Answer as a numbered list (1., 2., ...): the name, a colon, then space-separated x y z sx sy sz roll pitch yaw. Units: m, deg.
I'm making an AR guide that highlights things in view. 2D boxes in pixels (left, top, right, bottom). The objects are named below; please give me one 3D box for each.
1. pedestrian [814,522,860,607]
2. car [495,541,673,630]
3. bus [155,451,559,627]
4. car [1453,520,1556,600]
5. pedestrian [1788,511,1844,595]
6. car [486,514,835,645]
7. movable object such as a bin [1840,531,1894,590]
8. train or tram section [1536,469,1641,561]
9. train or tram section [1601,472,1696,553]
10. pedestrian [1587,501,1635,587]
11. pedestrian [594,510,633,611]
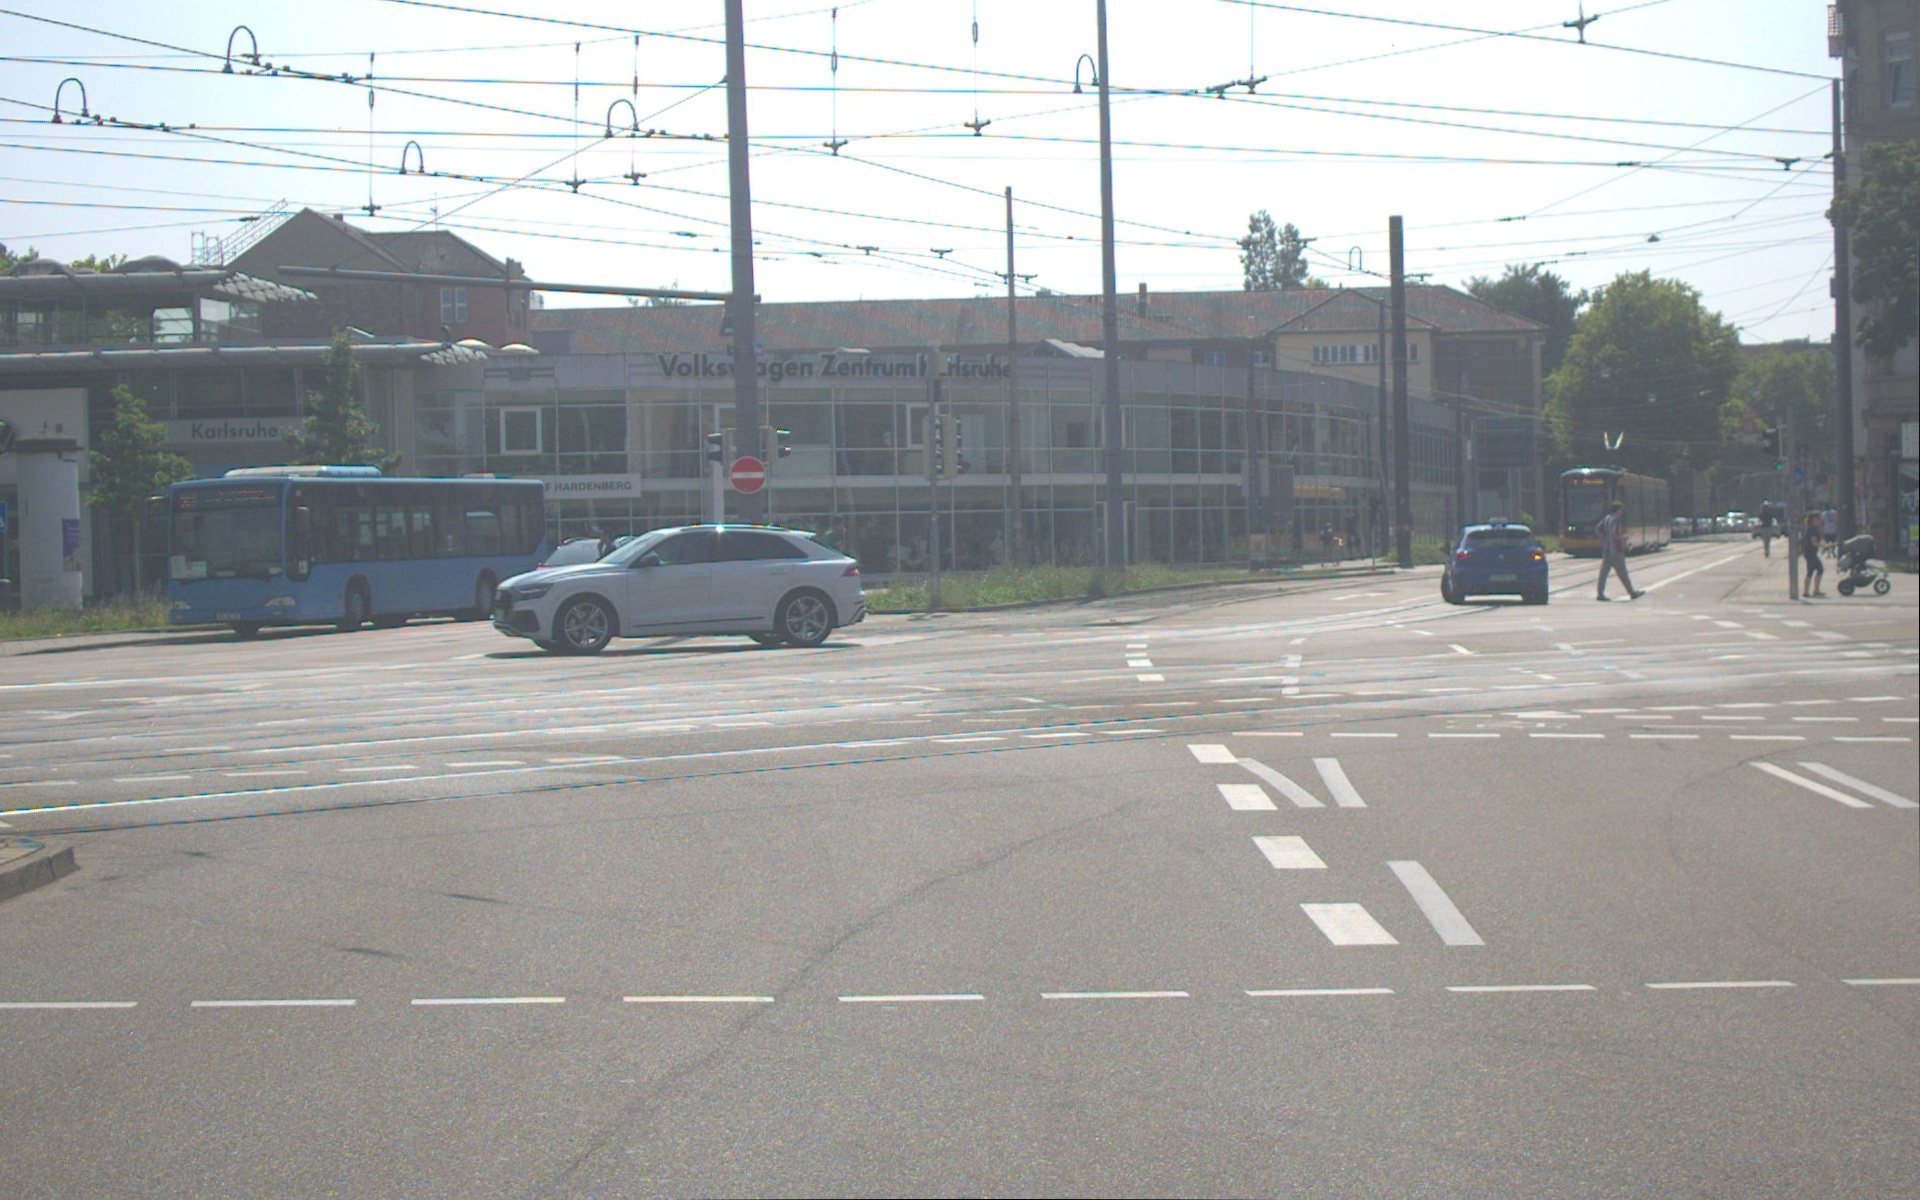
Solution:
1. pedestrian: -2.092 -0.604 58.562 0.676 1.438 0.366 -1 1 -17
2. car: -6.923 -0.294 63.669 1.751 1.546 3.997 -1 1 18
3. bus: -11.395 -1.215 66.818 2.564 3.072 12.014 -1 1 17
4. car: 9.910 -0.744 62.755 1.591 1.389 3.999 -1 1 6
5. pedestrian: 15.900 -0.877 63.887 0.850 1.539 0.529 -1 1 -8
6. car: -4.010 -0.289 45.929 4.320 1.612 1.755 -2 1 -18
7. movable object such as a bin: 16.781 -0.726 63.627 0.812 1.073 0.512 -1 1 -11
8. train or tram section: 25.159 -3.395 137.241 2.590 3.504 10.889 -1 1 19
9. train or tram section: 31.680 -4.004 157.779 2.590 3.504 12.961 -1 1 19
10. pedestrian: 12.200 -1.055 64.436 0.699 1.597 0.573 -1 1 -8
11. pedestrian: -5.860 -0.671 58.129 0.552 1.678 0.454 -1 1 -18
